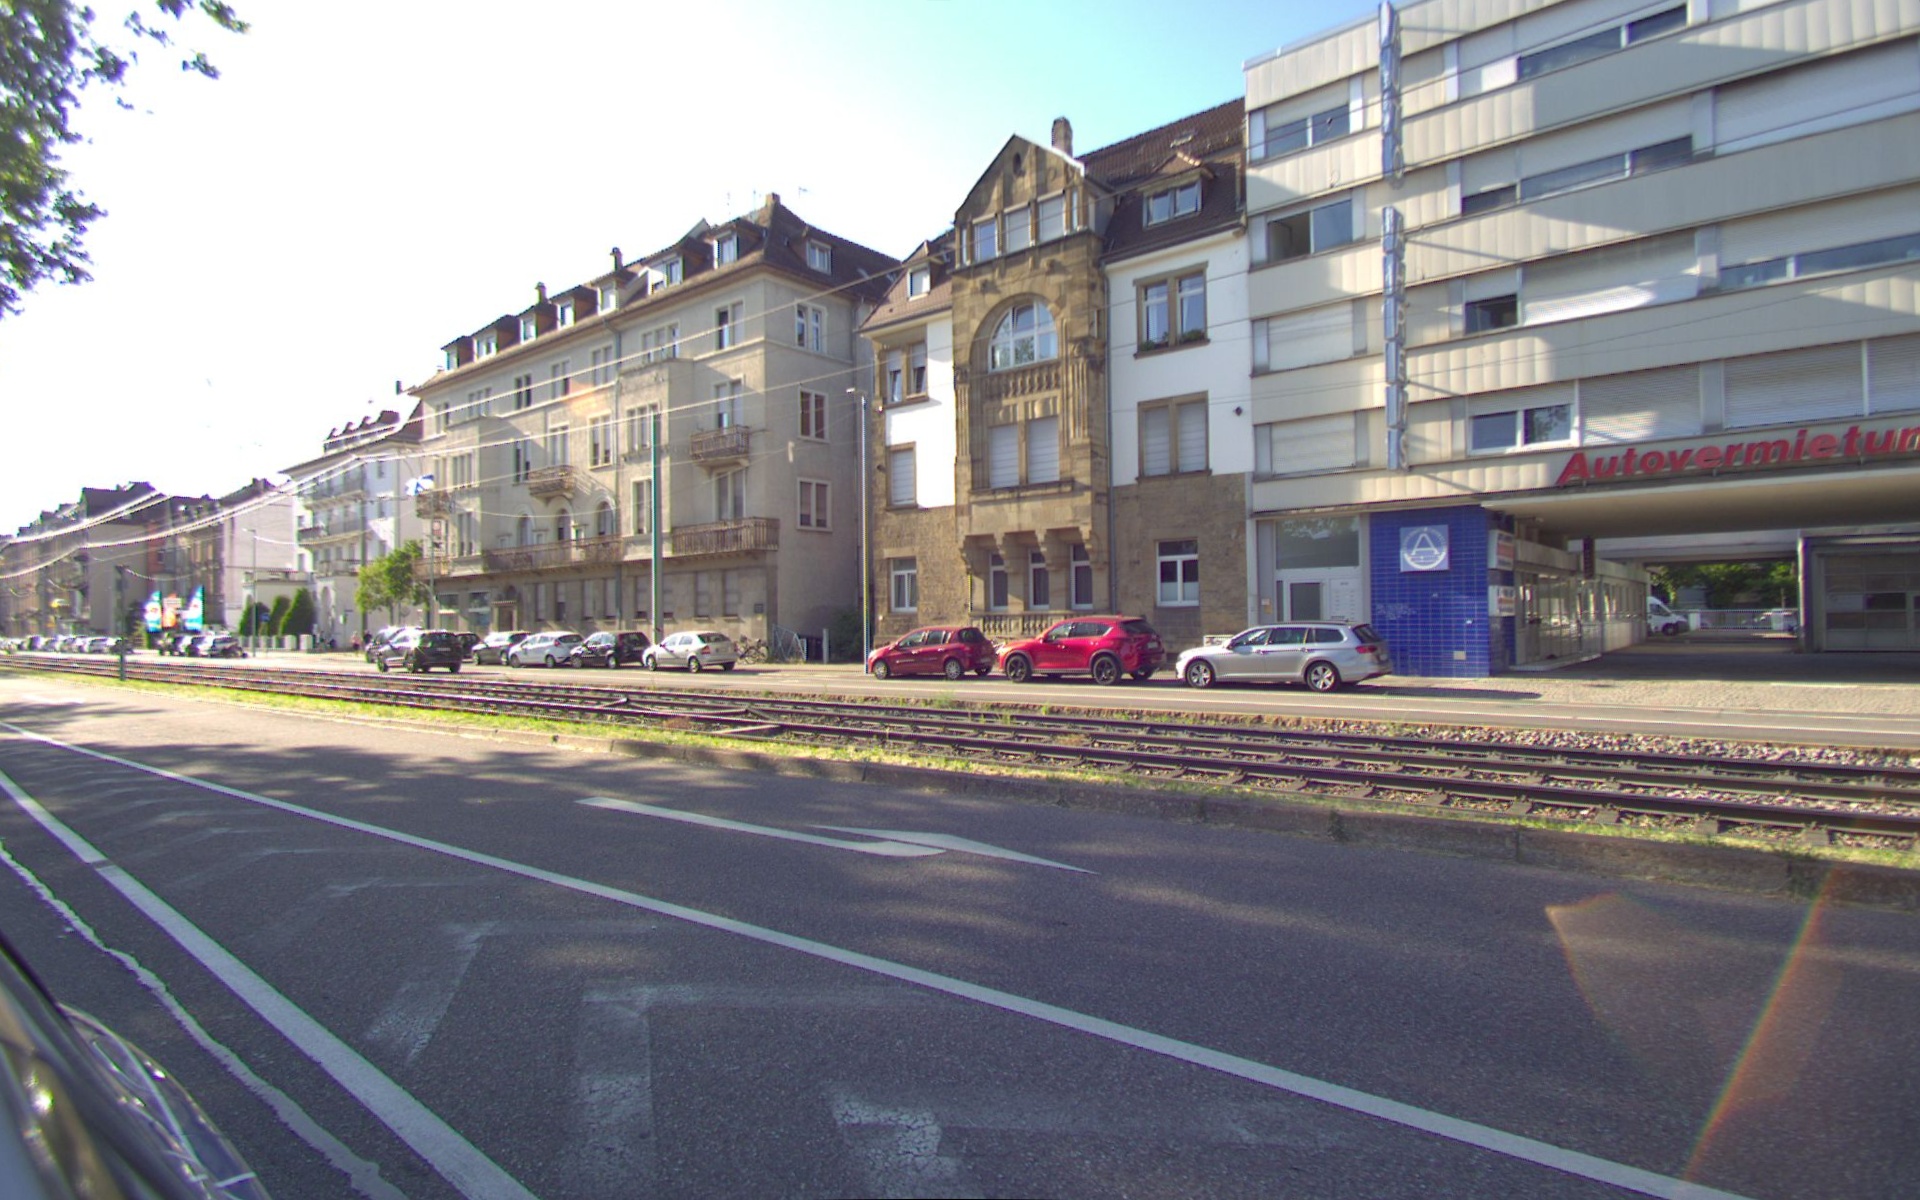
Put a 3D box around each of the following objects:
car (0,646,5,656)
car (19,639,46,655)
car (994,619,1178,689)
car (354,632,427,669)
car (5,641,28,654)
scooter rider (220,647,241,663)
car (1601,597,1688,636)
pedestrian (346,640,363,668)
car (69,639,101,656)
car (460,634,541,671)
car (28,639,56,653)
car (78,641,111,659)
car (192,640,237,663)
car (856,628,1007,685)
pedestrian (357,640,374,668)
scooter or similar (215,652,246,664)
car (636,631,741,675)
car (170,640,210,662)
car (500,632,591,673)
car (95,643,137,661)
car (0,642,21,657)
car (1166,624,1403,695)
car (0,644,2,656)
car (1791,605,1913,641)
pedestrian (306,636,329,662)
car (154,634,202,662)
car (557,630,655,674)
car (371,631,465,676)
[{"bbox_3d":[-133.217,7.056,139.680,3.762,1.456,1.643,-2,0,40],"label":"car"},{"bbox_3d":[-112.953,5.678,123.232,4.722,1.821,1.644,-2,0,39],"label":"car"},{"bbox_3d":[3.145,1.328,25.766,4.350,1.570,1.814,-2,0,41],"label":"car"},{"bbox_3d":[-30.005,2.667,53.260,4.396,1.800,1.844,-3,-1,39],"label":"car"},{"bbox_3d":[-117.516,5.883,126.075,3.977,1.456,1.643,-2,0,40],"label":"car"},{"bbox_3d":[-49.551,3.725,68.724,0.962,1.097,0.810,0,-2,-19],"label":"scooter rider"},{"bbox_3d":[42.515,1.031,62.919,4.337,2.309,1.840,-1,0,39],"label":"car"},{"bbox_3d":[-37.864,3.395,63.289,0.856,1.709,0.584,-1,0,36],"label":"pedestrian"},{"bbox_3d":[-89.579,4.813,103.598,4.842,1.572,1.900,-2,1,43],"label":"car"},{"bbox_3d":[-20.976,2.362,46.133,4.155,1.480,1.619,-2,1,39],"label":"car"},{"bbox_3d":[-107.933,5.410,118.960,4.623,1.550,1.901,-2,-1,40],"label":"car"},{"bbox_3d":[-85.279,4.909,99.714,4.841,1.707,1.900,-3,-1,42],"label":"car"},{"bbox_3d":[-54.310,3.745,73.701,3.998,1.521,1.776,-2,0,41],"label":"car"},{"bbox_3d":[-0.859,1.596,29.210,4.026,1.401,1.818,-2,1,35],"label":"car"},{"bbox_3d":[-37.445,3.379,63.784,0.856,1.709,0.584,-1,0,36],"label":"pedestrian"},{"bbox_3d":[-49.511,3.904,68.733,1.542,0.776,0.810,0,-2,-19],"label":"scooter or similar"},{"bbox_3d":[-9.919,1.937,36.834,4.156,1.480,1.618,-3,-2,40],"label":"car"},{"bbox_3d":[-58.696,3.838,77.108,4.158,1.518,1.618,-1,1,42],"label":"car"},{"bbox_3d":[-17.503,2.216,42.699,3.975,1.479,1.621,-2,3,36],"label":"car"},{"bbox_3d":[-78.157,4.800,93.701,4.835,1.471,1.903,-3,3,38],"label":"car"},{"bbox_3d":[-124.477,6.508,132.419,3.995,1.821,1.777,-2,0,38],"label":"car"},{"bbox_3d":[7.135,1.277,22.552,4.677,1.402,1.815,-2,-1,39],"label":"car"},{"bbox_3d":[-136.683,7.063,142.840,4.629,1.655,1.775,-2,0,42],"label":"car"},{"bbox_3d":[39.879,1.018,45.353,3.998,1.521,1.775,-1,1,42],"label":"car"},{"bbox_3d":[-46.071,3.503,72.552,0.930,1.791,0.986,-1,0,25],"label":"pedestrian"},{"bbox_3d":[-62.984,3.843,81.493,5.590,2.025,2.055,-2,0,42],"label":"car"},{"bbox_3d":[-14.100,2.059,40.226,4.154,1.479,1.620,-2,3,39],"label":"car"},{"bbox_3d":[-20.604,2.027,38.402,4.153,1.614,1.619,-2,-3,38],"label":"car"}]
